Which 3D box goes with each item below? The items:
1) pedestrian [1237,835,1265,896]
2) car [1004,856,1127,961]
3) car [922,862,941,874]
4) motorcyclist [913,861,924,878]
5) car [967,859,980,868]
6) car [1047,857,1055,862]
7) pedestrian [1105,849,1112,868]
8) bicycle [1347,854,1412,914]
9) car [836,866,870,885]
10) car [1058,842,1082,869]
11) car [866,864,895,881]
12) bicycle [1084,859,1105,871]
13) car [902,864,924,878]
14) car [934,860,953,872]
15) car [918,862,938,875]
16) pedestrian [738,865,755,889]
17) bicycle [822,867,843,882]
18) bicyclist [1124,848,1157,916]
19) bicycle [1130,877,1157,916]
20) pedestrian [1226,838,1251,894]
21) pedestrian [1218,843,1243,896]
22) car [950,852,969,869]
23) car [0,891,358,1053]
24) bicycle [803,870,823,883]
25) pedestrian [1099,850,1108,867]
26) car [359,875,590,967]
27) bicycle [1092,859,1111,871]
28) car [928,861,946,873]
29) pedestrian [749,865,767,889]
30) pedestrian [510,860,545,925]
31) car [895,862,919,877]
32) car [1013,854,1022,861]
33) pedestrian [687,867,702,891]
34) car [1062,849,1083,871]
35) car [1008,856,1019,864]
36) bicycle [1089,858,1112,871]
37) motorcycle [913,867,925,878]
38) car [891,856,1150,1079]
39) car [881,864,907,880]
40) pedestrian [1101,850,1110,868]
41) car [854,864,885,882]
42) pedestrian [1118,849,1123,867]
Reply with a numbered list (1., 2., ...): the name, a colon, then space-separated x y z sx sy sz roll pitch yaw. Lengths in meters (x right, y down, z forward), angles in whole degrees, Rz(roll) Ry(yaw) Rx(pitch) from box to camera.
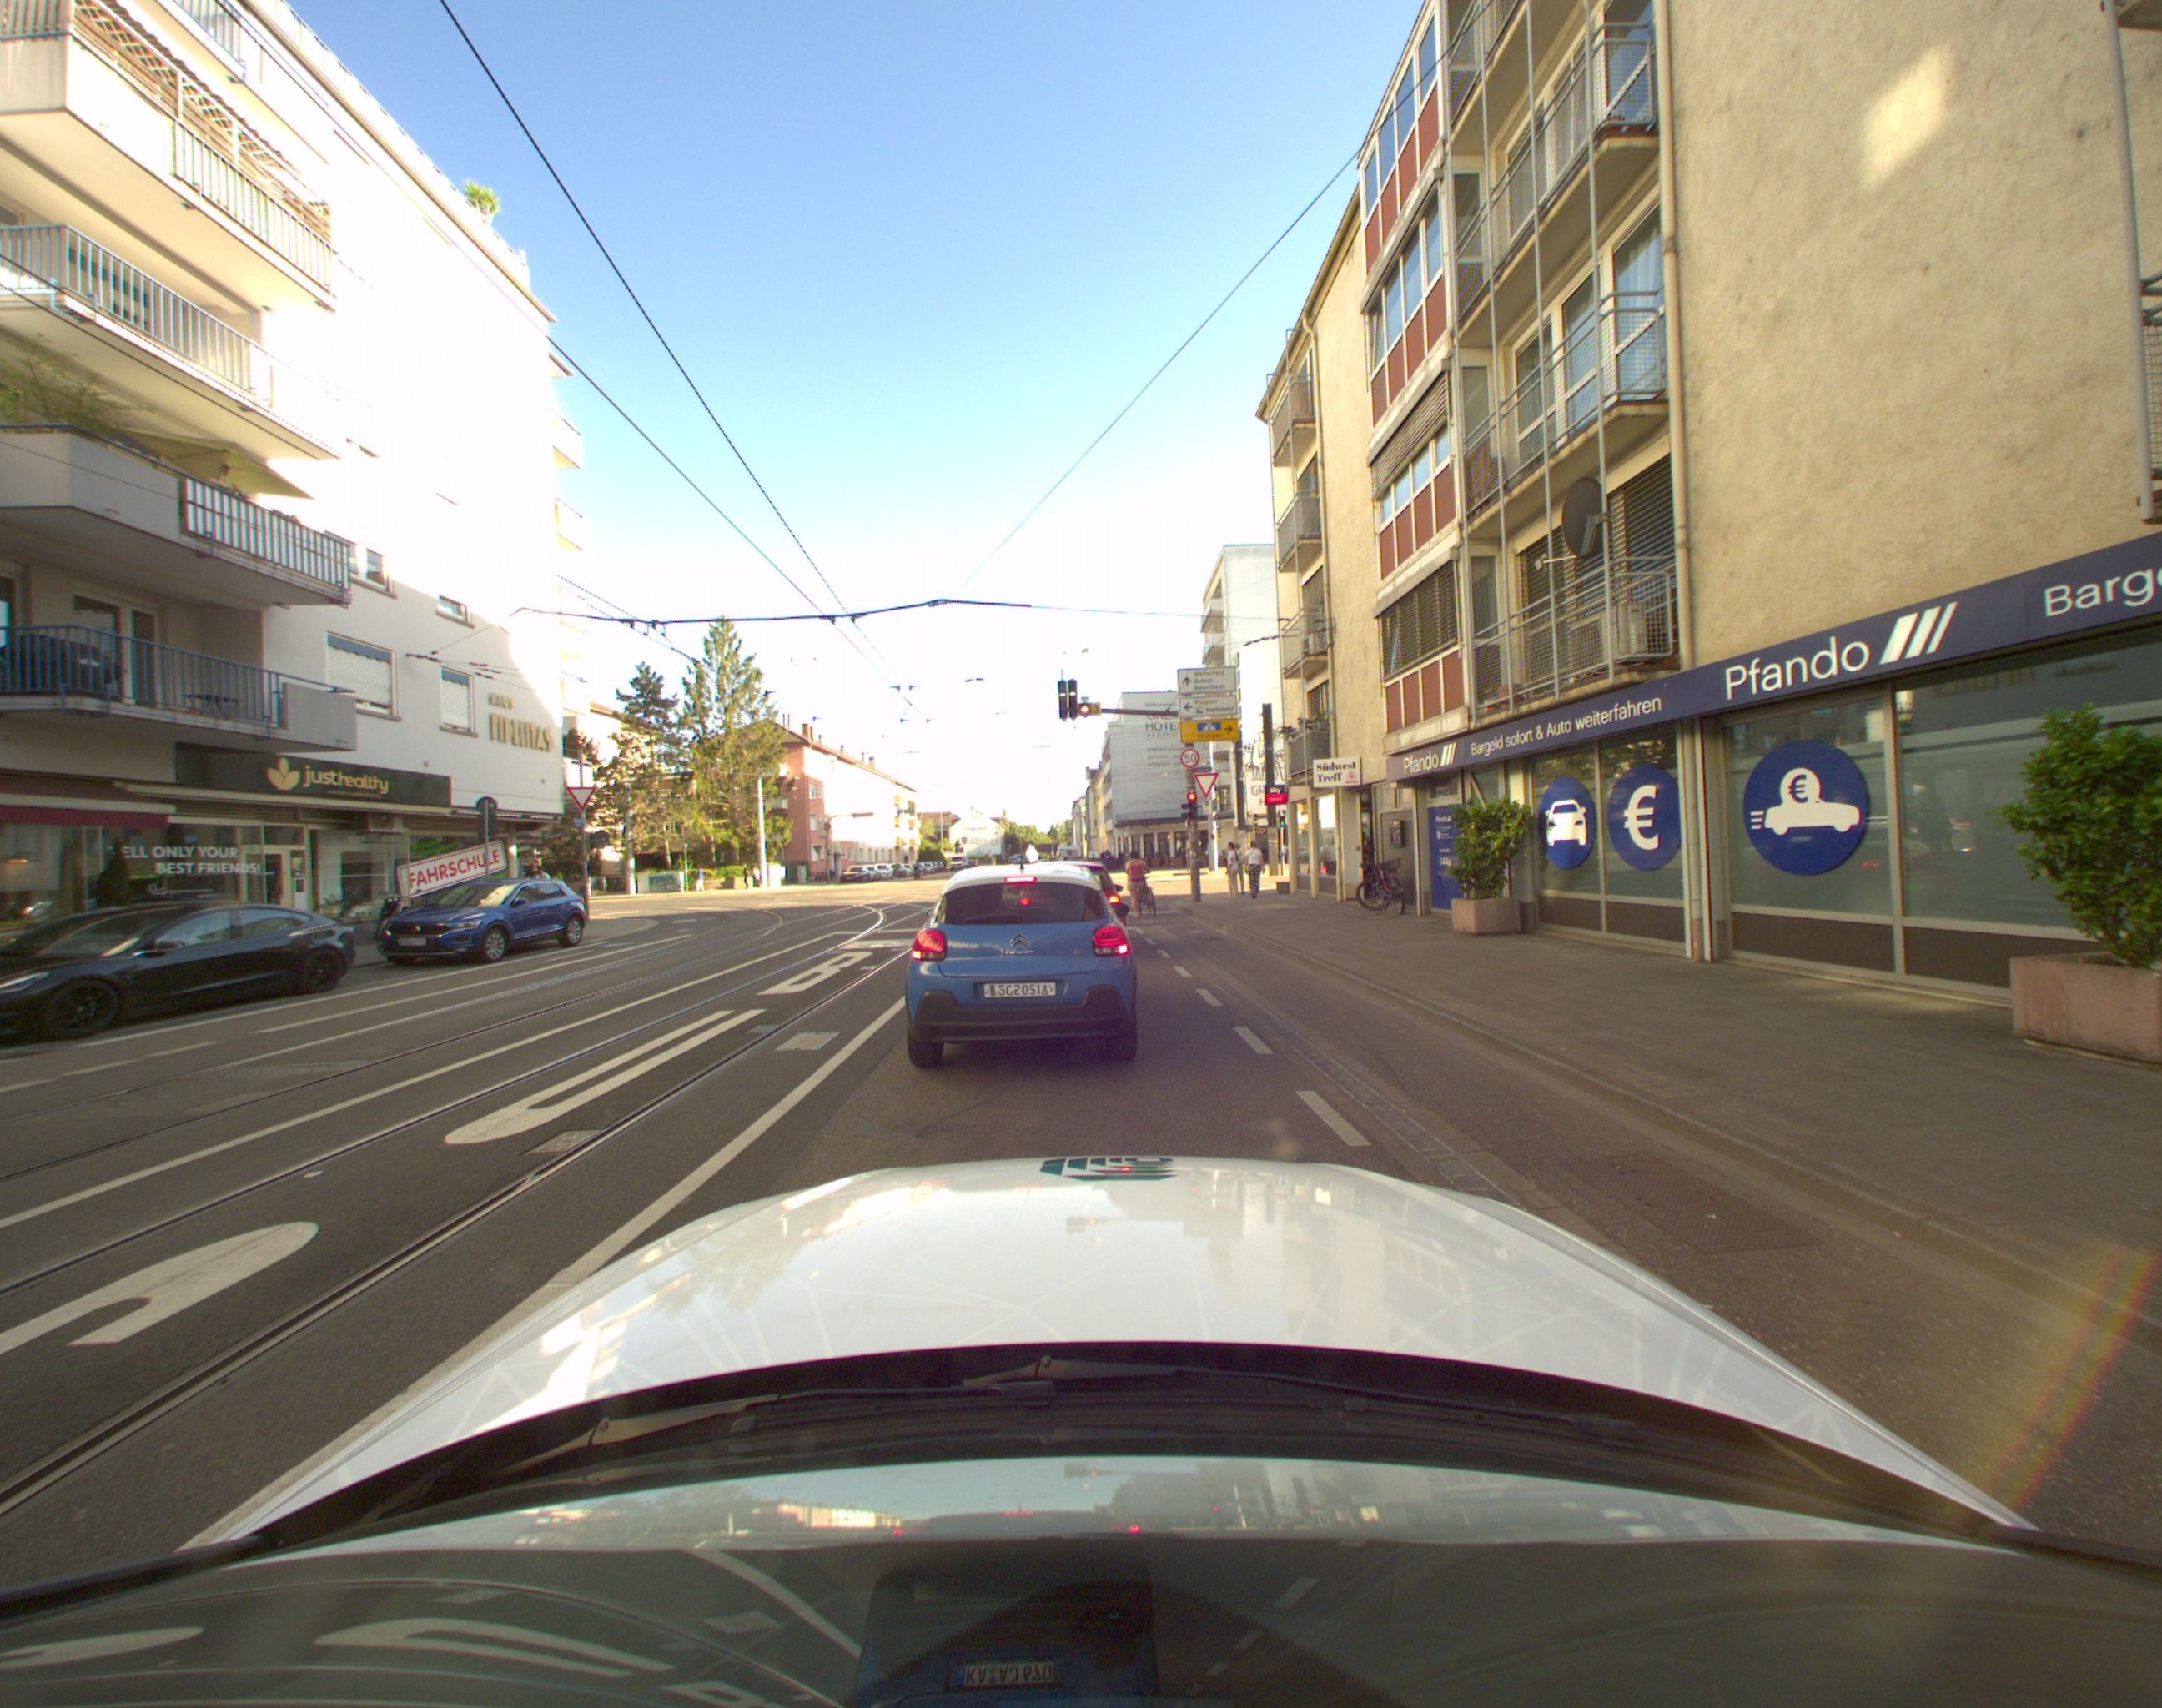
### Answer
1. pedestrian: 4.830 0.322 23.188 0.539 1.672 0.650 -4 0 0
2. car: -0.156 0.794 13.770 1.732 1.420 4.002 -2 0 2
3. car: -20.527 1.902 111.753 1.906 1.497 3.997 -3 0 -2
4. motorcyclist: -13.488 1.269 67.607 0.716 1.378 0.912 -2 0 2
5. car: -19.135 1.740 145.165 2.016 1.525 3.997 -2 0 -2
6. car: -7.687 1.333 210.621 1.752 1.259 3.825 -2 0 -5
7. pedestrian: 2.392 0.376 70.065 0.490 1.556 0.383 -3 0 -2
8. bicycle: 5.748 0.548 15.780 0.528 1.072 1.810 -2 0 -1
9. car: -19.424 1.773 69.450 1.907 1.433 3.995 -3 0 -4
10. car: -1.001 0.154 72.638 1.988 2.325 3.998 -1 0 -1
11. car: -19.582 1.784 79.812 1.906 1.497 3.997 -3 0 -2
12. bicycle: 1.131 0.916 68.547 1.713 0.957 0.702 -3 0 3
13. car: -20.212 2.065 98.331 1.906 1.497 3.997 -3 0 -2
14. car: -20.567 1.820 122.280 2.024 1.619 4.509 -3 0 -1
15. car: -20.025 1.857 106.738 1.906 1.497 3.997 -3 0 -2
16. pedestrian: -24.080 1.675 58.617 0.836 1.690 0.741 -2 0 24
17. bicycle: -22.807 1.881 74.804 0.845 1.225 3.304 -2 0 0
18. bicyclist: 1.480 0.683 20.382 0.723 1.646 0.790 -2 0 1
19. bicycle: 1.572 1.064 20.680 0.497 0.864 1.748 -2 0 0
20. pedestrian: 4.889 0.369 25.233 0.539 1.672 0.624 -4 1 0
21. pedestrian: 4.408 0.450 24.039 0.539 1.507 0.611 -4 1 0
22. car: -17.873 0.948 119.943 2.201 2.251 4.673 -3 0 -2
23. car: -11.982 1.319 10.414 1.694 1.509 4.309 -1 -1 -1
24. bicycle: -22.463 1.869 68.284 0.730 0.952 2.597 -2 0 0
25. pedestrian: 2.054 0.435 74.543 0.648 1.556 0.490 -2 0 -20
26. car: -11.867 1.224 16.315 1.740 1.509 3.996 -1 -1 -2
27. bicycle: 1.666 0.885 66.115 1.497 0.957 0.702 -3 0 3
28. car: -20.611 1.883 116.851 1.865 1.574 3.997 -2 0 -2
29. pedestrian: -23.095 1.627 58.247 0.836 1.690 0.741 -2 0 25
30. pedestrian: -17.373 1.201 25.549 0.684 2.013 0.486 -2 0 1
31. car: -19.807 1.756 92.747 1.906 1.497 3.997 -3 0 -2
32. car: -14.668 0.850 188.051 2.016 1.525 3.997 -3 0 -2
33. pedestrian: -27.028 1.725 56.953 0.854 1.625 0.510 -2 0 -32
34. car: -0.720 0.463 67.710 1.727 1.750 3.212 -1 0 -1
35. car: -14.061 1.328 169.980 2.016 1.525 3.997 -2 0 -2
36. bicycle: 1.610 0.892 67.177 1.866 0.957 0.702 -3 0 3
37. motorcycle: -13.481 1.557 67.761 0.613 0.864 1.671 -3 0 2
38. car: -0.542 0.770 7.551 1.740 1.462 3.994 -1 0 -4
39. car: -19.807 1.890 86.604 1.906 1.497 3.997 -3 0 -2
40. pedestrian: 2.177 0.420 72.736 0.648 1.556 0.490 -2 0 -20
41. car: -19.520 1.730 75.184 1.906 1.497 3.997 -3 0 -2
42. pedestrian: 3.413 0.351 70.236 0.284 1.556 0.304 -2 0 -7
